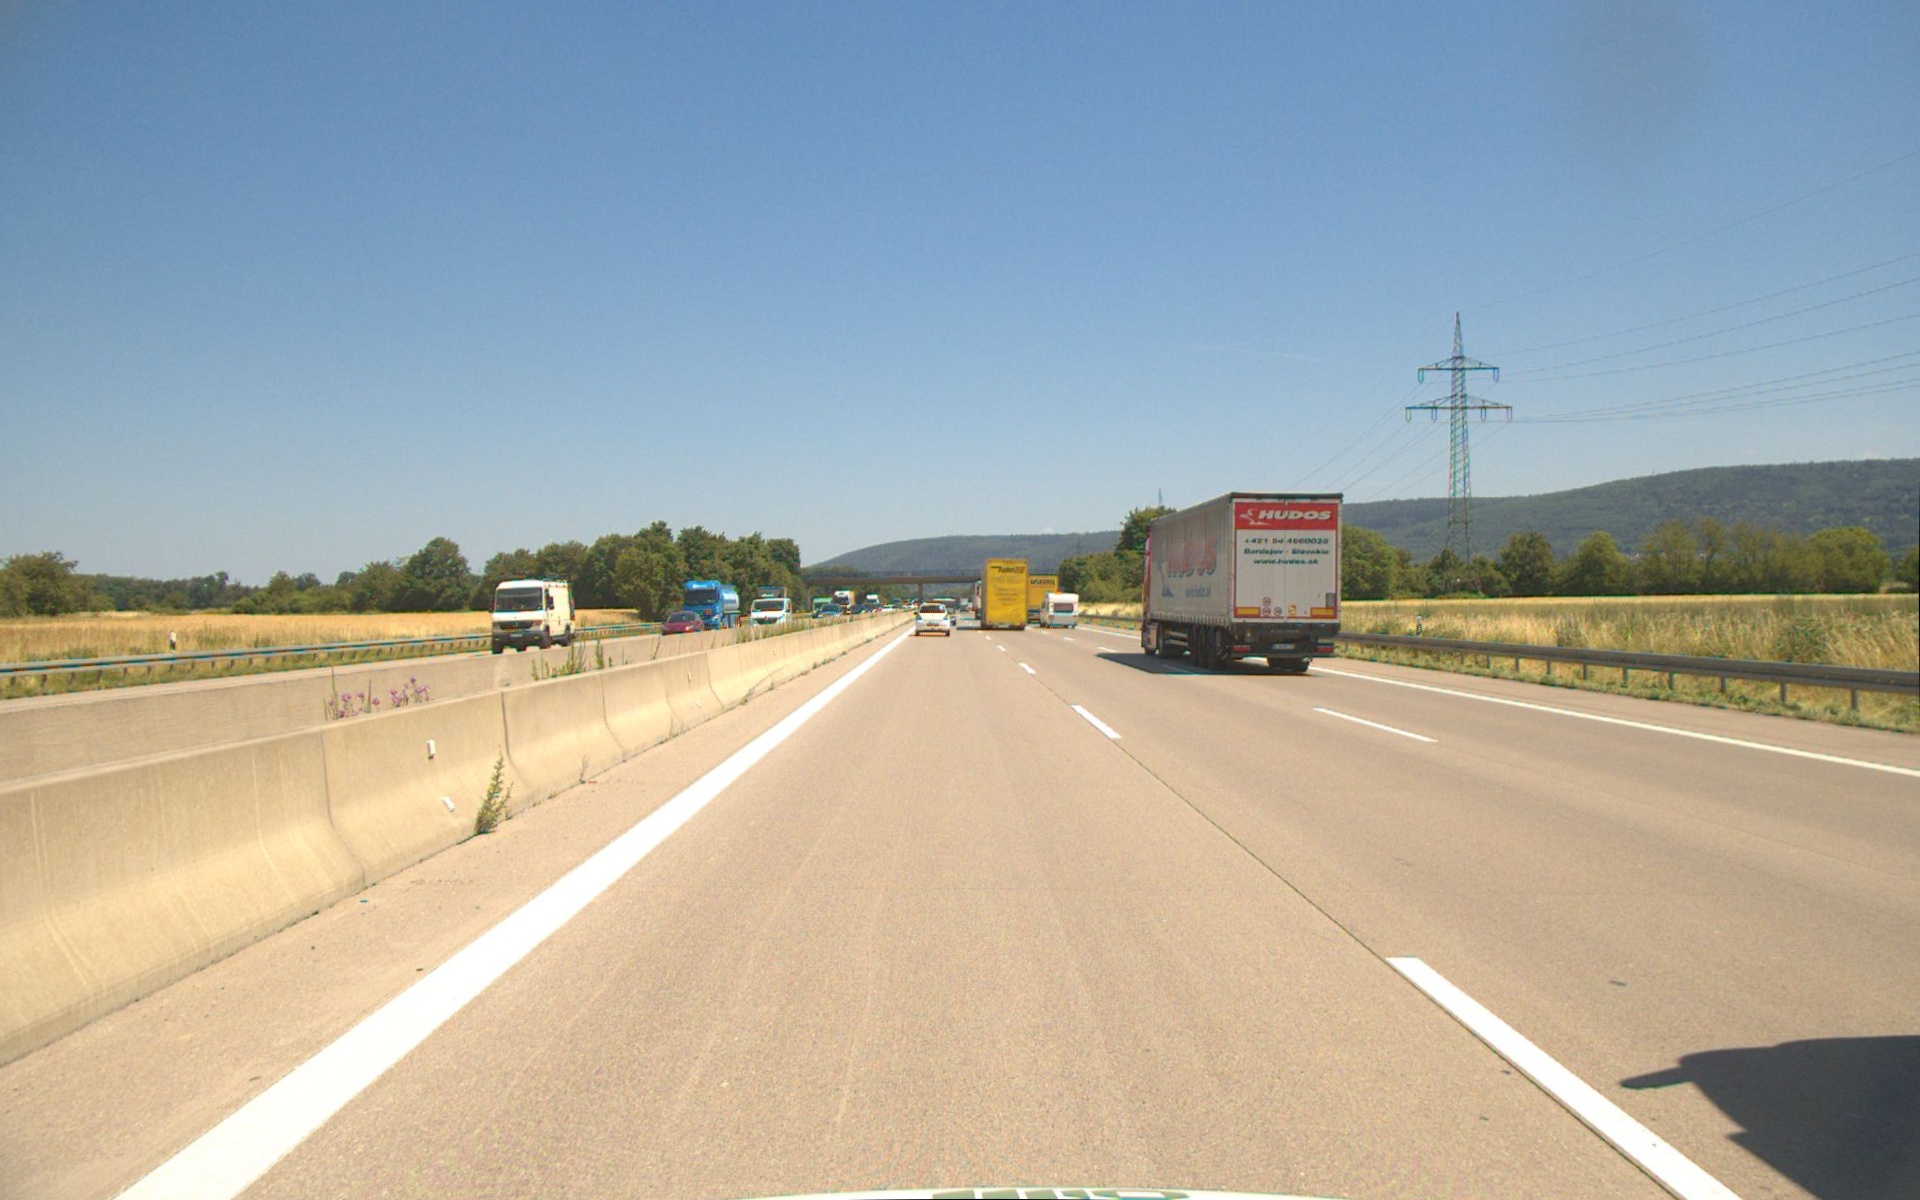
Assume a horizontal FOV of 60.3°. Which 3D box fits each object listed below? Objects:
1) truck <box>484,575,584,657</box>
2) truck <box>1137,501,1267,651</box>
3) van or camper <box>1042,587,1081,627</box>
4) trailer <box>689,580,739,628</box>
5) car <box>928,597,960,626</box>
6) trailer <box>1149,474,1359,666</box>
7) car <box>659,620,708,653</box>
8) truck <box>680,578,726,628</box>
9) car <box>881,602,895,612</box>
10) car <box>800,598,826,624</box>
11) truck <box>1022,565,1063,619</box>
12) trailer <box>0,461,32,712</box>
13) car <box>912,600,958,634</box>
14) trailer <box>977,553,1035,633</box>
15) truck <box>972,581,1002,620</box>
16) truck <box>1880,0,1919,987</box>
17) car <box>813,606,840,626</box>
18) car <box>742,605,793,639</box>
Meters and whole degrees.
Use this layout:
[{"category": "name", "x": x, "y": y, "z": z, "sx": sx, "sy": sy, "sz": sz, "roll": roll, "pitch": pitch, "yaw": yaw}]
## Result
[{"category": "truck", "x": -17.269, "y": 0.631, "z": 67.456, "sx": 2.275, "sy": 3.138, "sz": 6.976, "roll": 1, "pitch": 0, "yaw": -1}, {"category": "truck", "x": 7.171, "y": -0.677, "z": 49.803, "sx": 2.847, "sy": 4.172, "sz": 6.270, "roll": 1, "pitch": 0, "yaw": -1}, {"category": "van or camper", "x": 6.855, "y": 0.453, "z": 111.983, "sx": 2.179, "sy": 2.575, "sz": 5.430, "roll": 1, "pitch": 0, "yaw": -1}, {"category": "trailer", "x": -18.002, "y": 0.270, "z": 121.484, "sx": 2.464, "sy": 3.330, "sz": 9.251, "roll": 1, "pitch": 0, "yaw": -1}, {"category": "car", "x": -1.171, "y": 0.812, "z": 120.029, "sx": 2.208, "sy": 2.049, "sz": 4.297, "roll": 1, "pitch": 0, "yaw": 0}, {"category": "trailer", "x": 7.250, "y": -0.671, "z": 43.137, "sx": 2.815, "sy": 4.172, "sz": 13.510, "roll": 1, "pitch": 0, "yaw": -1}, {"category": "car", "x": -13.242, "y": 1.738, "z": 79.325, "sx": 1.654, "sy": 1.485, "sz": 4.486, "roll": 0, "pitch": 0, "yaw": -1}, {"category": "truck", "x": -17.879, "y": 0.226, "z": 115.450, "sx": 2.433, "sy": 3.367, "sz": 5.262, "roll": 1, "pitch": 0, "yaw": -1}, {"category": "car", "x": -11.210, "y": 1.128, "z": 257.623, "sx": 1.953, "sy": 1.388, "sz": 4.669, "roll": -2, "pitch": 0, "yaw": -1}, {"category": "car", "x": -15.069, "y": 1.084, "z": 169.952, "sx": 2.105, "sy": 2.595, "sz": 6.462, "roll": 0, "pitch": 0, "yaw": -1}, {"category": "truck", "x": 7.014, "y": -0.665, "z": 141.755, "sx": 2.938, "sy": 4.390, "sz": 9.682, "roll": 1, "pitch": 0, "yaw": 0}, {"category": "trailer", "x": -16.566, "y": -0.236, "z": 20.792, "sx": 2.849, "sy": 3.977, "sz": 12.508, "roll": 1, "pitch": 0, "yaw": -1}, {"category": "car", "x": -1.171, "y": 0.780, "z": 79.238, "sx": 2.064, "sy": 1.563, "sz": 4.122, "roll": 1, "pitch": 0, "yaw": 1}, {"category": "trailer", "x": 2.762, "y": -0.424, "z": 103.963, "sx": 3.150, "sy": 4.643, "sz": 13.455, "roll": 1, "pitch": 0, "yaw": 0}, {"category": "truck", "x": 2.731, "y": 0.061, "z": 169.128, "sx": 2.762, "sy": 3.827, "sz": 6.283, "roll": 1, "pitch": 0, "yaw": -1}, {"category": "truck", "x": 5.095, "y": -0.598, "z": 3.725, "sx": 2.923, "sy": 4.133, "sz": 5.477, "roll": 1, "pitch": 0, "yaw": -1}, {"category": "car", "x": -10.057, "y": 1.163, "z": 124.572, "sx": 1.743, "sy": 1.372, "sz": 4.451, "roll": 2, "pitch": 0, "yaw": -2}, {"category": "car", "x": -10.191, "y": 1.132, "z": 87.874, "sx": 2.095, "sy": 1.708, "sz": 5.644, "roll": 0, "pitch": 0, "yaw": -1}]
